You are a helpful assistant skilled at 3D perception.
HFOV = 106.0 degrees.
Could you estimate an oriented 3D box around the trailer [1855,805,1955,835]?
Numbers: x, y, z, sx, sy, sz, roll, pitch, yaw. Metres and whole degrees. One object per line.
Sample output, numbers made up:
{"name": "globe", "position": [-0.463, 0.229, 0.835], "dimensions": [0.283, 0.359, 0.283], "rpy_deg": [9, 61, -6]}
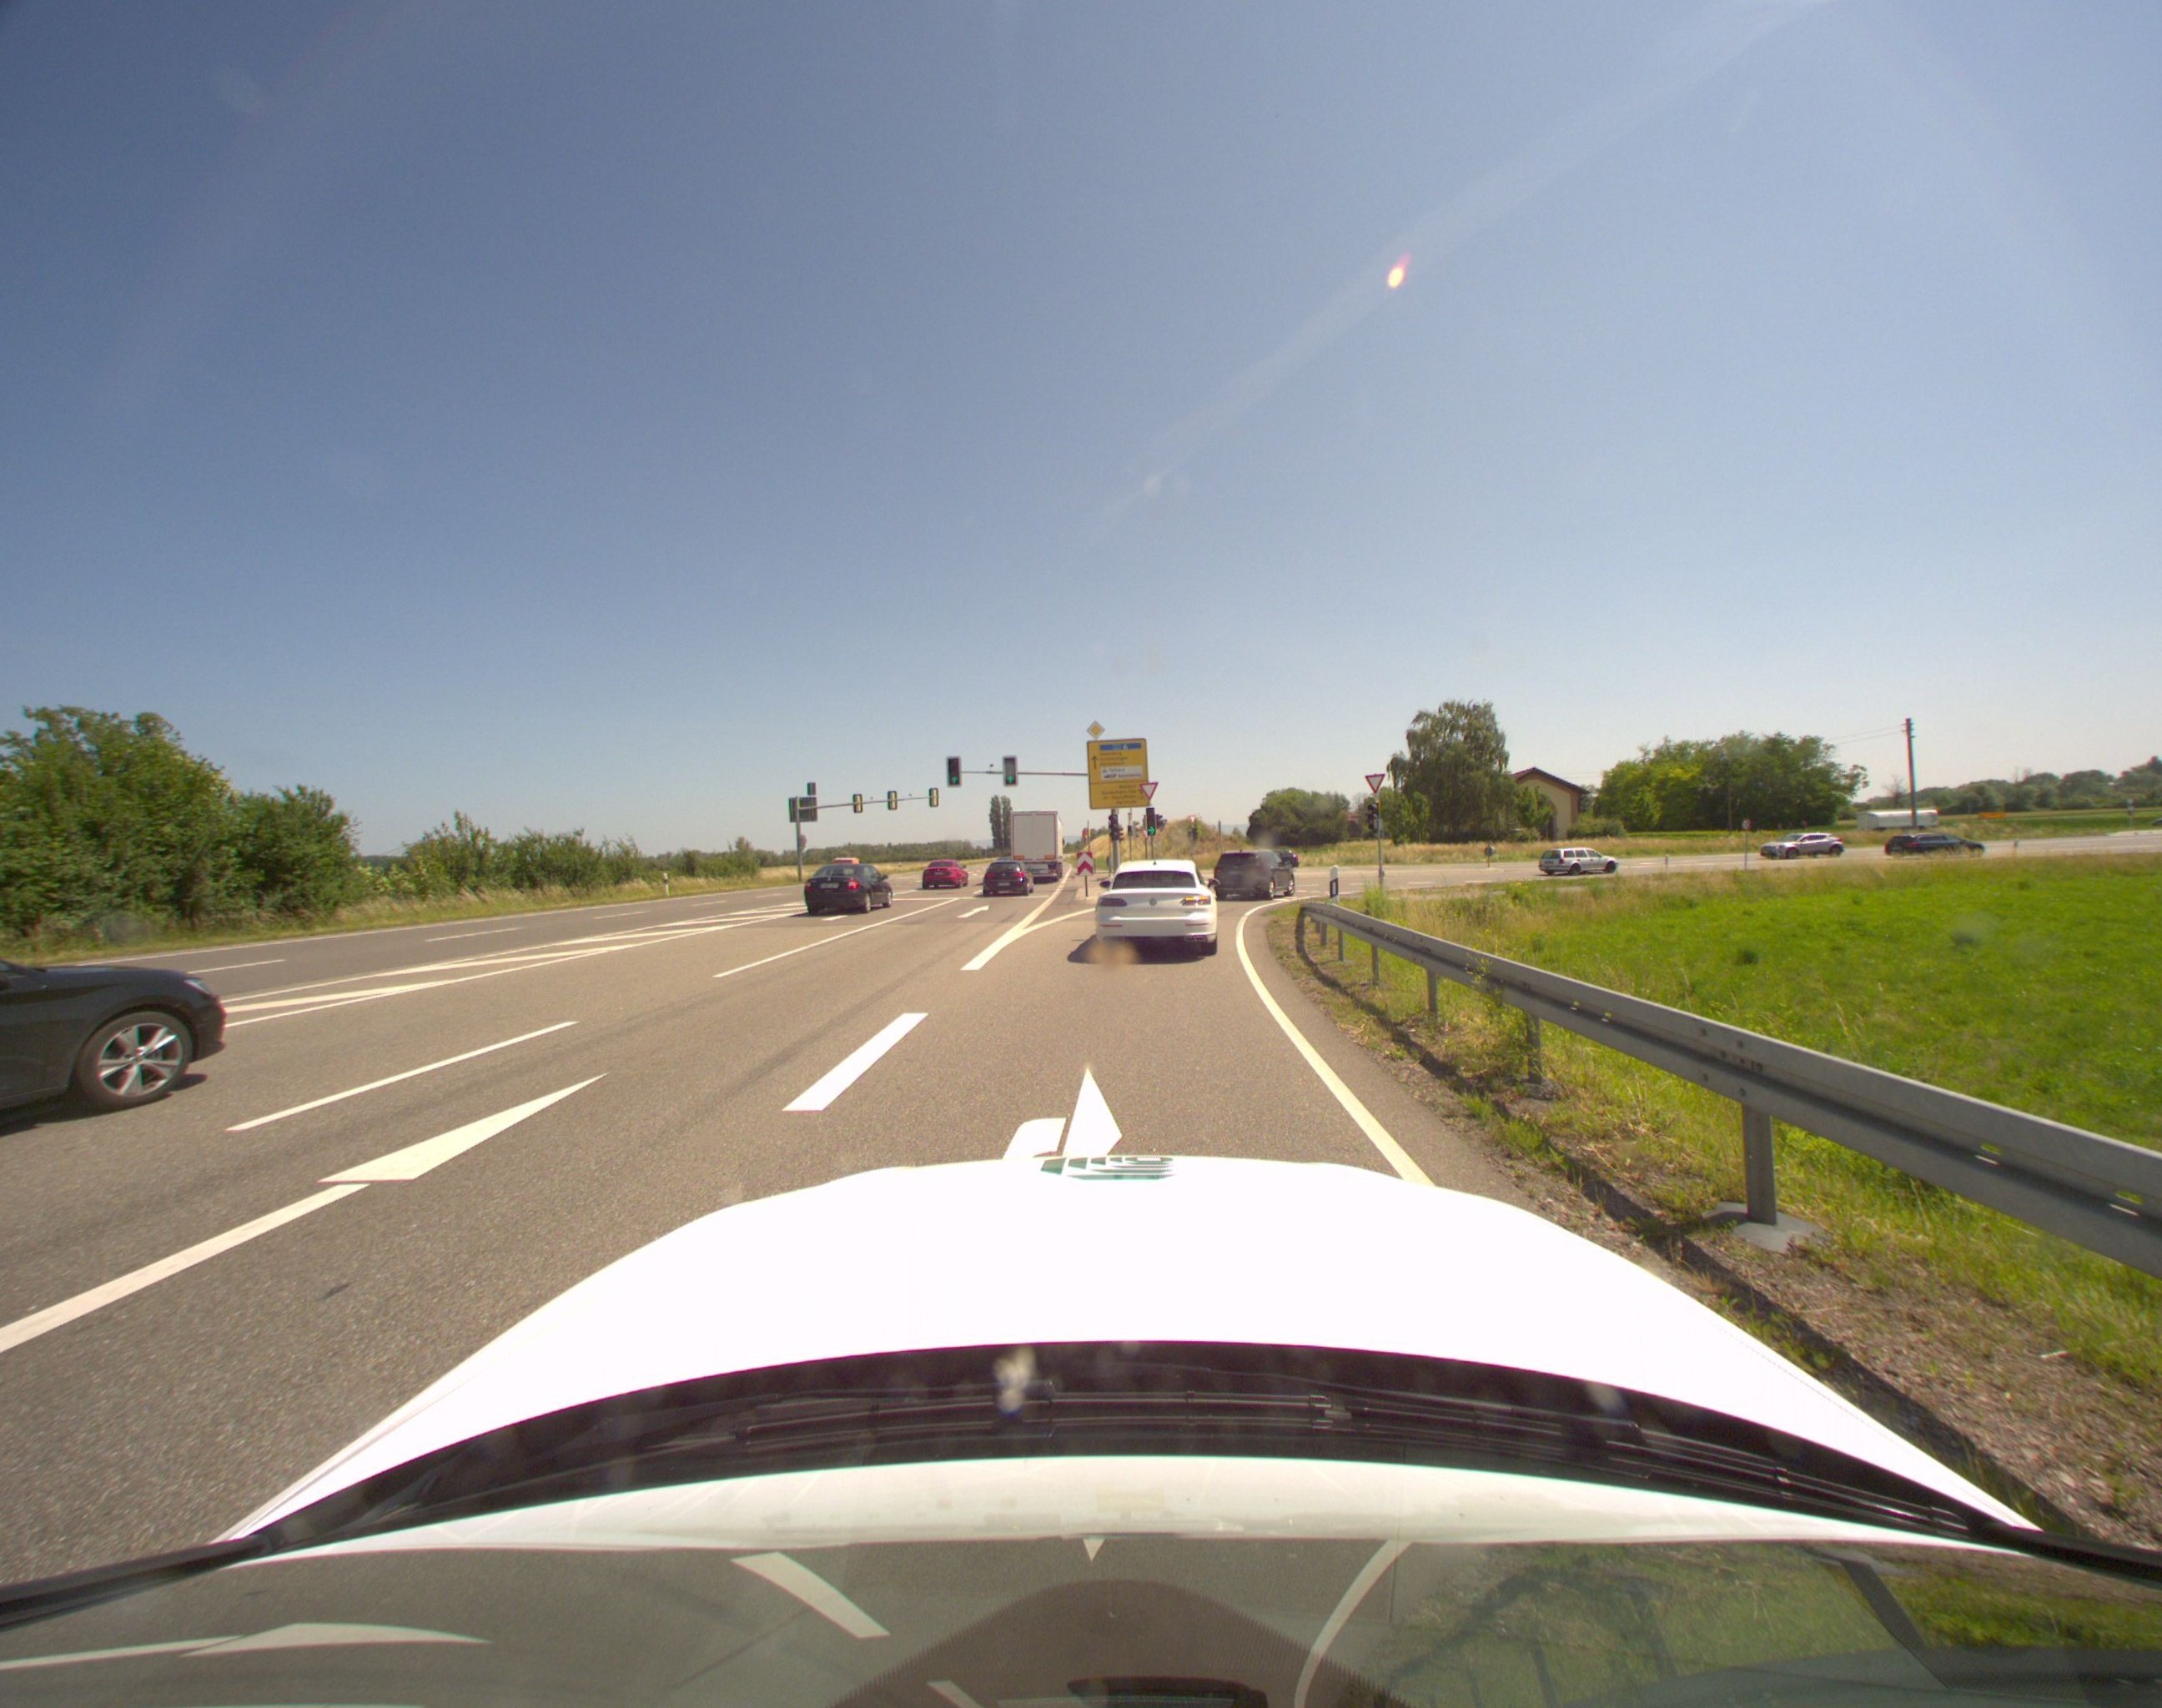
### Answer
{"name": "trailer", "position": [77.150, -3.160, 76.309], "dimensions": [6.331, 2.455, 2.691], "rpy_deg": [-3, 1, 5]}

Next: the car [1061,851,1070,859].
{"name": "car", "position": [-3.640, 0.198, 189.375], "dimensions": [1.975, 1.869, 4.463], "rpy_deg": [-1, -1, -2]}

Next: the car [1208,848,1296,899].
{"name": "car", "position": [6.014, 0.645, 28.244], "dimensions": [1.917, 1.616, 4.404], "rpy_deg": [-1, -1, 26]}

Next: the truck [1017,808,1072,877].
{"name": "truck", "position": [-2.465, -0.732, 57.247], "dimensions": [3.369, 4.543, 6.373], "rpy_deg": [-1, 0, 1]}

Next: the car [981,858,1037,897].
{"name": "car", "position": [-2.841, 0.891, 33.177], "dimensions": [1.778, 1.430, 4.382], "rpy_deg": [-1, 0, 1]}

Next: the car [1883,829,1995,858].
{"name": "car", "position": [47.969, -0.567, 45.586], "dimensions": [4.385, 1.476, 1.805], "rpy_deg": [-1, -1, 0]}

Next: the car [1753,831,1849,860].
{"name": "car", "position": [44.701, -0.550, 50.587], "dimensions": [4.529, 1.543, 1.869], "rpy_deg": [-3, 1, -5]}

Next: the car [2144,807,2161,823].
{"name": "car", "position": [96.361, -3.495, 71.405], "dimensions": [3.803, 1.387, 1.684], "rpy_deg": [-2, 2, 9]}

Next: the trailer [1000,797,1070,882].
{"name": "trailer", "position": [-2.560, -0.743, 50.375], "dimensions": [3.369, 4.542, 12.872], "rpy_deg": [-1, 0, 1]}

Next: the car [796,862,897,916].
{"name": "car", "position": [-6.868, 0.974, 24.369], "dimensions": [1.669, 1.412, 4.466], "rpy_deg": [-1, -1, 0]}

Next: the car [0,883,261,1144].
{"name": "car", "position": [-7.149, 0.954, 3.873], "dimensions": [1.883, 1.447, 4.525], "rpy_deg": [-1, 0, 0]}

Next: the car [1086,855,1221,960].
{"name": "car", "position": [1.325, 0.759, 13.591], "dimensions": [1.837, 1.433, 4.618], "rpy_deg": [-1, -1, 8]}

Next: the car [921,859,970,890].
{"name": "car", "position": [-6.871, 0.996, 41.821], "dimensions": [1.744, 1.421, 4.565], "rpy_deg": [-1, 0, 0]}

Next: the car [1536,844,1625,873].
{"name": "car", "position": [26.575, 0.233, 43.383], "dimensions": [4.089, 1.429, 1.795], "rpy_deg": [-1, -1, -17]}

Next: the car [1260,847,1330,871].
{"name": "car", "position": [14.370, 0.305, 54.891], "dimensions": [4.241, 1.368, 1.778], "rpy_deg": [-3, 1, 4]}
